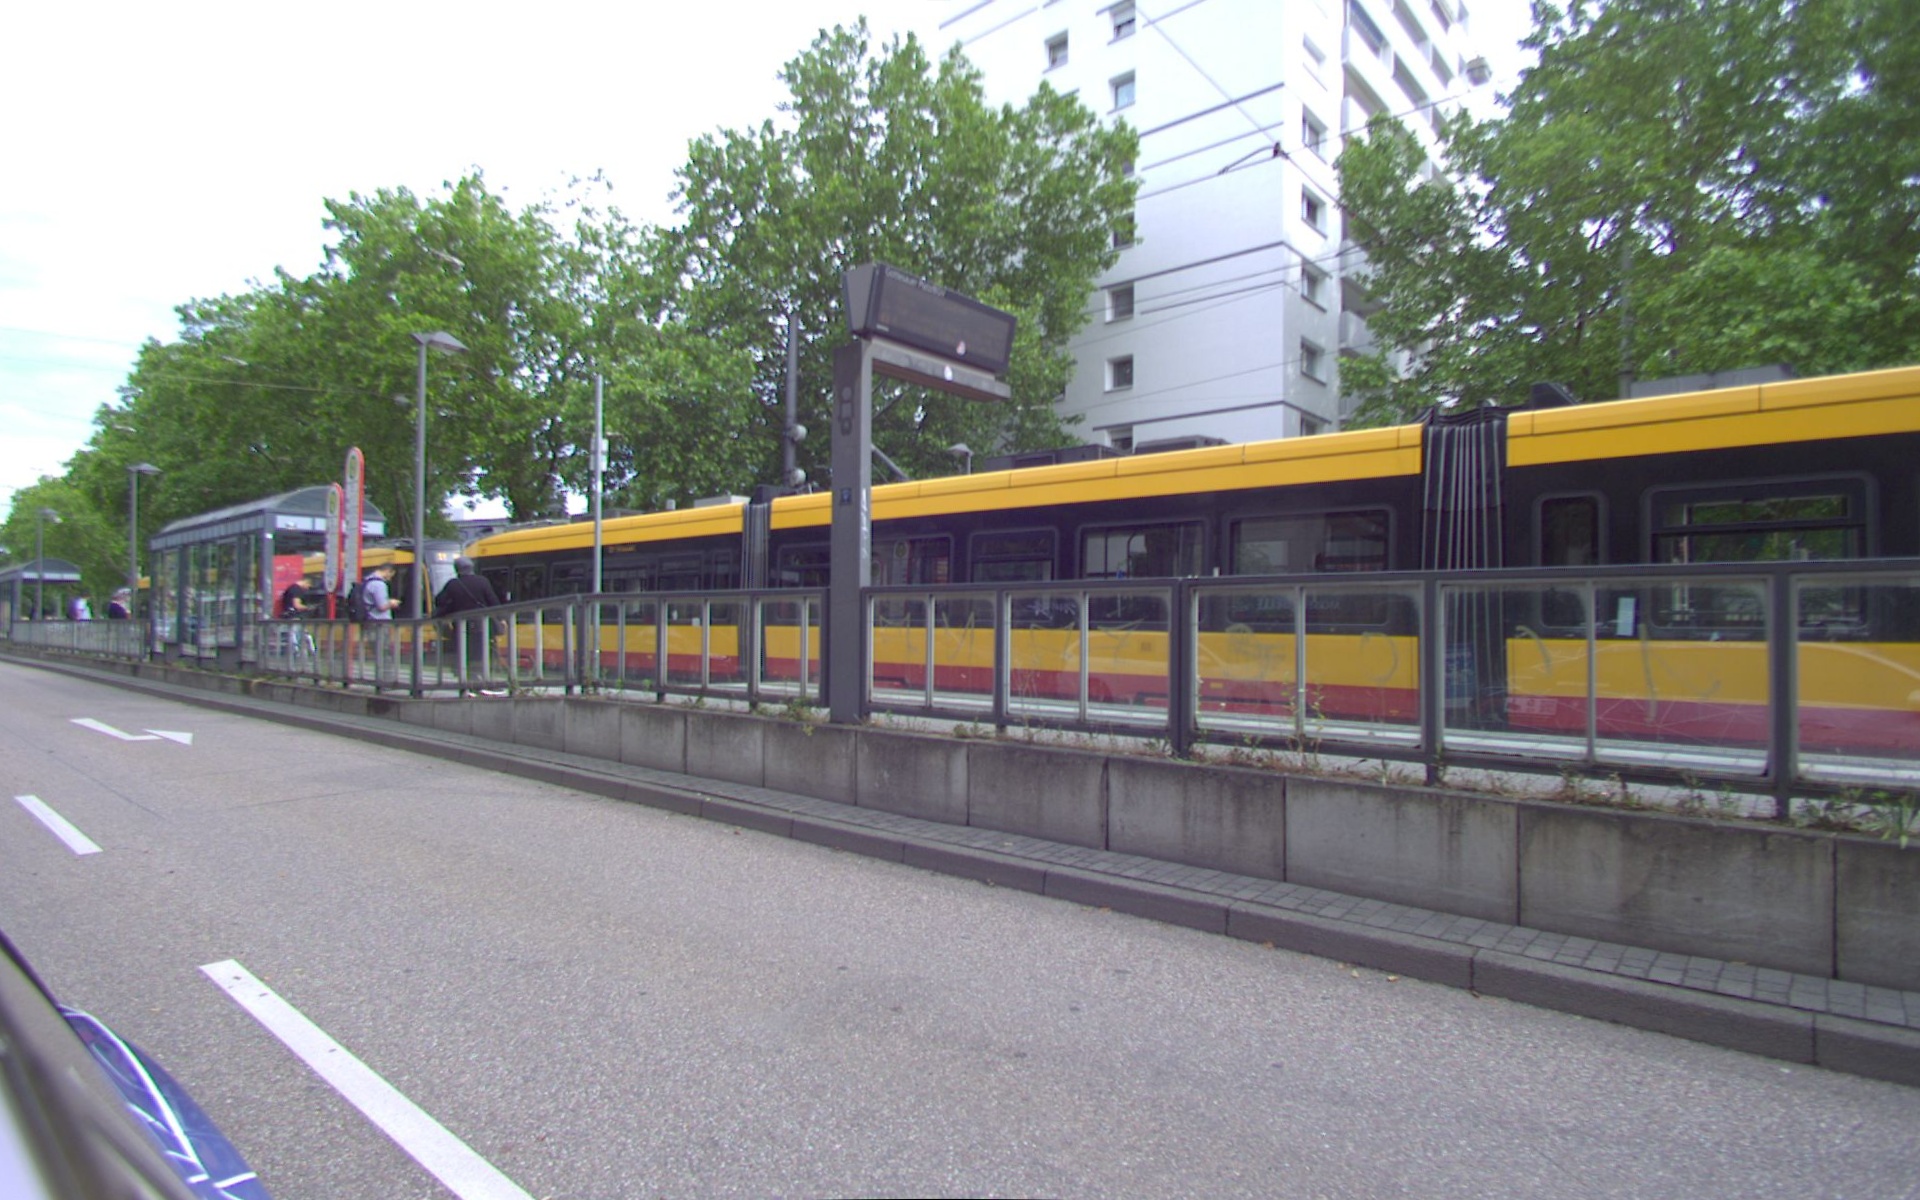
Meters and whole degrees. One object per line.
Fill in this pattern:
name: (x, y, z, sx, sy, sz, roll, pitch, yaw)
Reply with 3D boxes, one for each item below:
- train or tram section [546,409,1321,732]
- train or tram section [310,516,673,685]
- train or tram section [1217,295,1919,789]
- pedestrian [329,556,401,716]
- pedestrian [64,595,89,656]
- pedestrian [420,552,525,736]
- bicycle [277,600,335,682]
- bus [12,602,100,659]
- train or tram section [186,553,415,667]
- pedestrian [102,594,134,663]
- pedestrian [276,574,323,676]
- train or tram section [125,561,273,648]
train or tram section: (-1.946, -0.253, 17.344, 15.287, 3.558, 3.028, -1, 0, 41)
train or tram section: (-13.417, 0.081, 27.473, 15.287, 3.558, 3.028, -1, 0, 41)
train or tram section: (9.769, -0.456, 7.018, 15.841, 3.616, 3.028, -1, 0, 41)
pedestrian: (-7.816, 0.453, 13.332, 0.742, 2.029, 0.821, 0, 0, -26)
pedestrian: (-24.078, 0.680, 27.583, 0.392, 1.645, 0.474, -1, -1, 42)
pedestrian: (-5.551, 0.491, 11.568, 0.808, 2.029, 0.754, -1, 0, 4)
bicycle: (-10.246, 0.628, 15.842, 1.289, 1.231, 0.414, -1, 0, 41)
bus: (-33.917, 1.111, 37.940, 3.998, 2.029, 1.973, -1, 0, 41)
train or tram section: (-25.060, 0.388, 37.728, 15.764, 3.558, 3.028, -1, 0, 41)
pedestrian: (-20.466, 0.689, 24.596, 0.730, 1.645, 0.506, -1, -1, 43)
pedestrian: (-10.871, 0.399, 16.659, 0.471, 1.645, 0.526, -1, -1, 39)
train or tram section: (-35.653, 0.250, 47.123, 12.534, 3.589, 3.060, -1, 0, 42)
